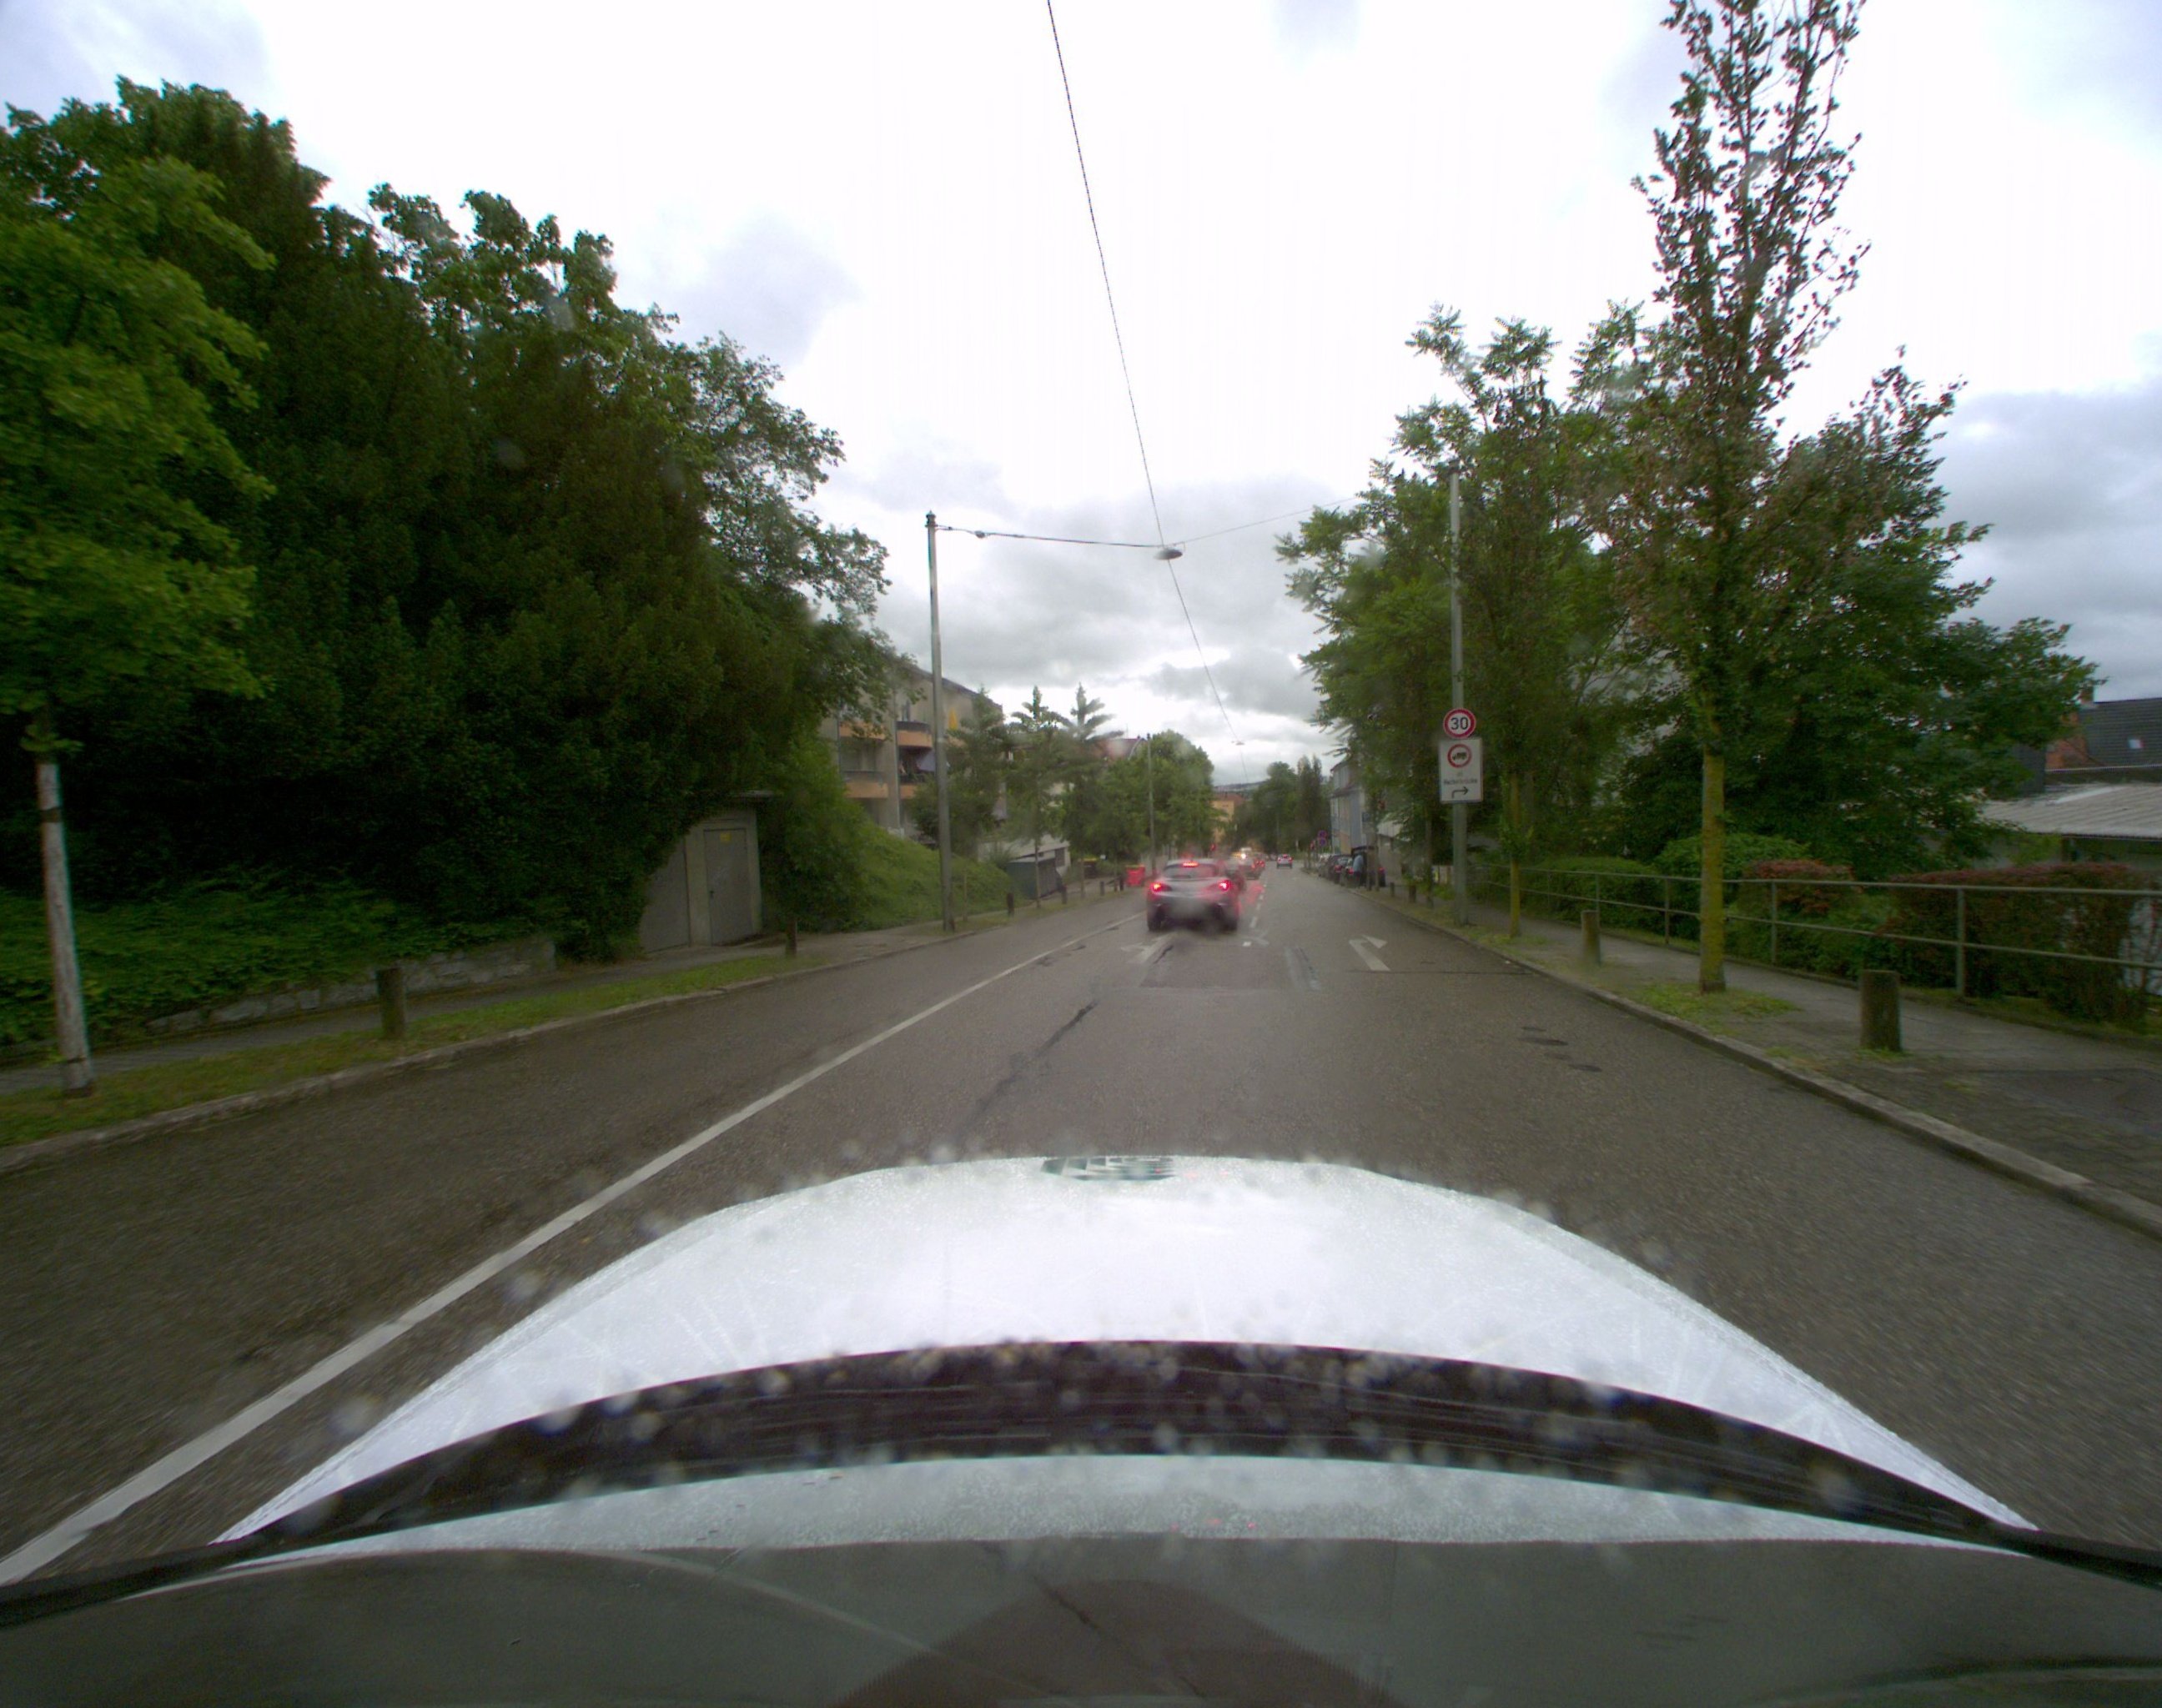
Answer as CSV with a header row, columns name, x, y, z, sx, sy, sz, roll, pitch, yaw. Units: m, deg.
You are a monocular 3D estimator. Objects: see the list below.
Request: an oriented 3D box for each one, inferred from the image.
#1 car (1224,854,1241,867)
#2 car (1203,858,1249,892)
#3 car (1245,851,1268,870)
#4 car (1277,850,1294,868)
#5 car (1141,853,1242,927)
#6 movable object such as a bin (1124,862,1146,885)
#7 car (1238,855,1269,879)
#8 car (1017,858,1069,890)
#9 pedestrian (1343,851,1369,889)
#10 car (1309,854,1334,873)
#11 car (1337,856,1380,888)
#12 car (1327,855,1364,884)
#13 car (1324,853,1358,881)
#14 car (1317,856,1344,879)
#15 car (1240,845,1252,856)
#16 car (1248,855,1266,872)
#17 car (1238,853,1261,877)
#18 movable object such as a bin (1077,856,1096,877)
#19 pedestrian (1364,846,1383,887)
name,x,y,z,sx,sy,sz,roll,pitch,yaw
car,19.668,0.840,105.596,1.837,1.469,4.103,-5,-2,14
car,6.174,0.854,34.917,1.787,1.323,4.009,0,1,8
car,19.663,0.701,91.197,2.318,2.036,4.752,2,1,14
car,24.820,0.589,99.008,1.980,2.036,4.752,2,1,13
car,2.459,0.731,17.852,1.934,1.432,3.894,-1,-1,9
movable object such as a bin,3.282,1.188,49.046,1.264,1.387,0.490,0,0,11
car,11.590,0.866,54.764,1.948,1.472,3.963,2,1,11
car,-1.951,1.013,42.816,1.730,1.456,3.896,-5,-1,11
pedestrian,12.744,0.742,37.719,0.735,1.724,0.762,-4,-1,-12
car,21.222,0.826,71.998,1.893,1.571,4.015,-2,0,14
car,13.494,0.847,39.782,1.493,1.435,4.013,-2,-1,12
car,14.754,0.813,45.576,1.669,1.464,4.015,-2,0,14
car,15.943,0.789,50.006,1.673,1.571,4.015,-2,0,14
car,17.513,0.912,57.298,1.573,1.493,4.306,-2,0,14
car,29.267,-0.606,144.324,1.979,1.784,4.015,2,1,14
car,17.771,0.970,82.301,1.743,1.651,4.012,2,0,11
car,13.769,0.854,66.699,1.757,1.781,3.989,2,1,11
movable object such as a bin,0.371,0.857,55.515,1.264,1.387,0.490,0,0,11
pedestrian,13.466,0.580,37.469,0.681,1.836,0.669,-4,-1,20
